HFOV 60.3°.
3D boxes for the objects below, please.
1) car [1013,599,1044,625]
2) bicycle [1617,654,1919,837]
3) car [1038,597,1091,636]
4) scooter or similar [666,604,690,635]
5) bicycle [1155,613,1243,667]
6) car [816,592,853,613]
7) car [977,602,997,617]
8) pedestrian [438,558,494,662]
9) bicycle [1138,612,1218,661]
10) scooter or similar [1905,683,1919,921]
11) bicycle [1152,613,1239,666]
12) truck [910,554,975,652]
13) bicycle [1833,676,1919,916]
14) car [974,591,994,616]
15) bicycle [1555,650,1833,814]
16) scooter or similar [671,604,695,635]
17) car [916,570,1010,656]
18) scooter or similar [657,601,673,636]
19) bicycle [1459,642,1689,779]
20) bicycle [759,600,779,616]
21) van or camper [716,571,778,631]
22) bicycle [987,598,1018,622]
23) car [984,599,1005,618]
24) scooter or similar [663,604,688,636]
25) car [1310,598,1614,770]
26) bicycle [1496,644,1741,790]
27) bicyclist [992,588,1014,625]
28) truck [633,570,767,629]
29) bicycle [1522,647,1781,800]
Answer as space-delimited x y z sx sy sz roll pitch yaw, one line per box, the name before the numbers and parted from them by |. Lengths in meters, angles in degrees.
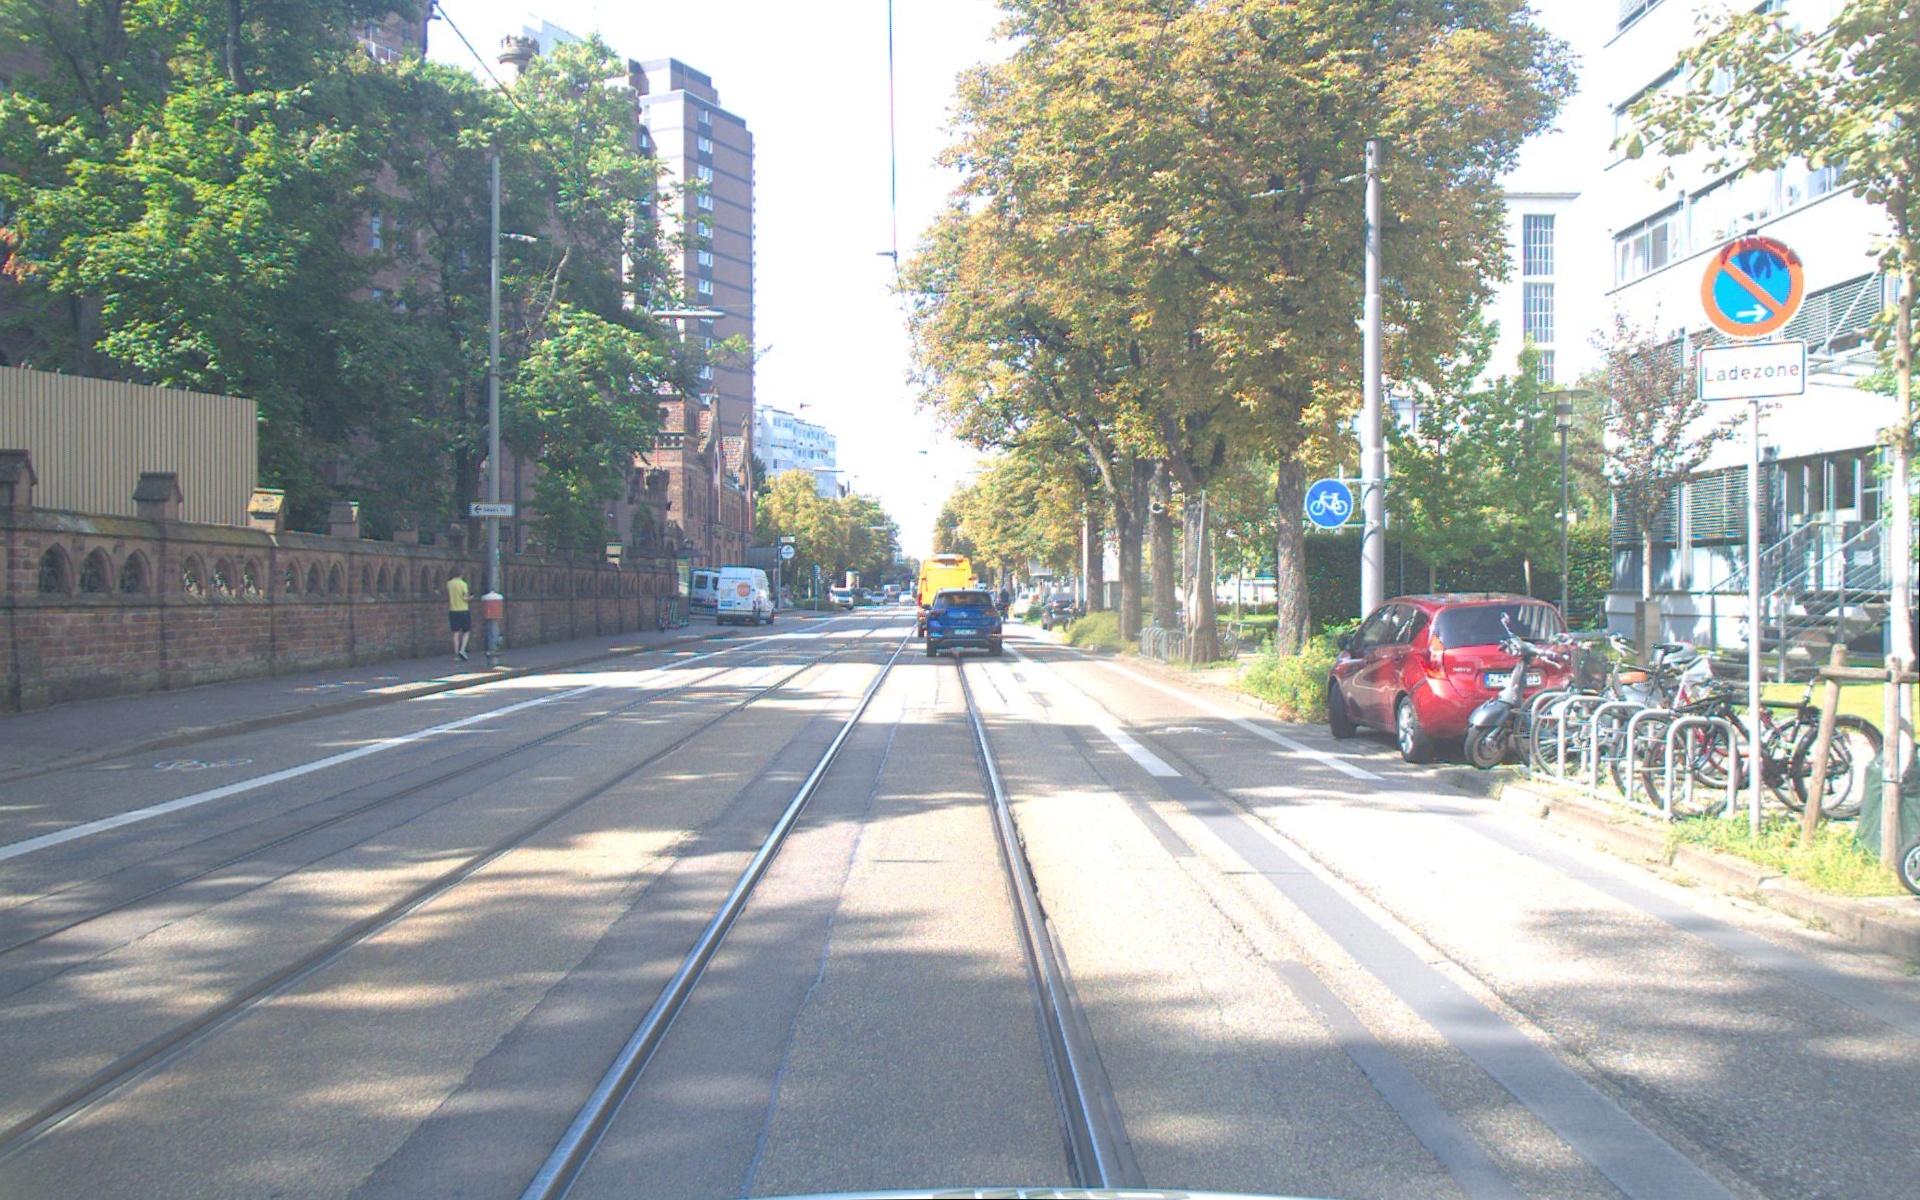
car | 4.101 0.710 99.437 1.625 1.507 4.216 -1 0 0
bicycle | 5.211 0.922 10.652 1.735 1.090 0.540 -1 0 -2
car | 4.311 0.672 68.560 1.720 1.542 4.607 -1 0 -2
scooter or similar | -10.724 0.736 62.913 0.332 1.199 1.177 0 0 24
bicycle | 4.942 0.827 34.275 1.735 1.068 0.540 -1 0 -2
car | -11.130 0.195 146.087 1.728 1.828 3.960 1 0 -30
car | 2.798 0.979 173.059 1.869 1.457 4.291 0 0 -2
pedestrian | -9.871 0.197 33.051 0.846 2.049 0.983 0 0 -3
bicycle | 4.927 0.829 37.432 1.735 1.068 0.540 -1 0 -2
scooter or similar | 5.295 0.920 7.483 1.735 1.090 0.540 -1 0 -2
bicycle | 4.976 0.827 34.953 1.735 1.068 0.540 -1 0 -2
truck | -0.608 0.108 57.394 2.092 3.179 6.084 -1 0 -1
bicycle | 5.268 0.921 8.070 1.735 1.090 0.540 -1 0 -2
car | 2.666 0.379 183.653 1.953 2.804 5.759 0 0 -2
bicycle | 5.197 0.923 11.754 1.735 1.090 0.540 -1 0 -2
scooter or similar | -10.722 0.737 64.047 0.332 1.199 1.177 0 0 24
car | 0.049 0.301 39.839 2.092 1.891 5.567 -1 0 -1
scooter or similar | -10.245 0.643 57.448 0.413 1.199 1.311 0 0 -16
bicycle | 5.185 0.924 14.013 1.735 1.090 0.540 -1 0 -2
bicycle | -14.470 0.601 125.352 1.423 1.112 0.399 4 -1 -5
van or camper | -9.945 0.044 77.623 2.069 2.722 5.955 0 0 1
bicycle | 2.118 0.484 82.881 1.373 1.154 3.999 0 0 -1
car | 3.172 0.783 152.545 1.705 1.697 4.360 0 0 -2
scooter or similar | -10.622 0.736 61.743 0.332 1.199 1.177 0 0 24
car | 4.874 0.735 16.703 1.720 1.487 4.274 -1 0 -1
bicycle | 5.255 0.924 13.240 1.735 1.090 0.540 -1 0 -2
bicyclist | 2.154 0.308 82.884 1.011 1.844 1.016 0 0 -1
truck | -12.924 -0.060 82.423 6.188 2.582 2.132 3 1 4
bicycle | 5.237 0.924 12.566 1.735 1.090 0.540 -1 0 -2
